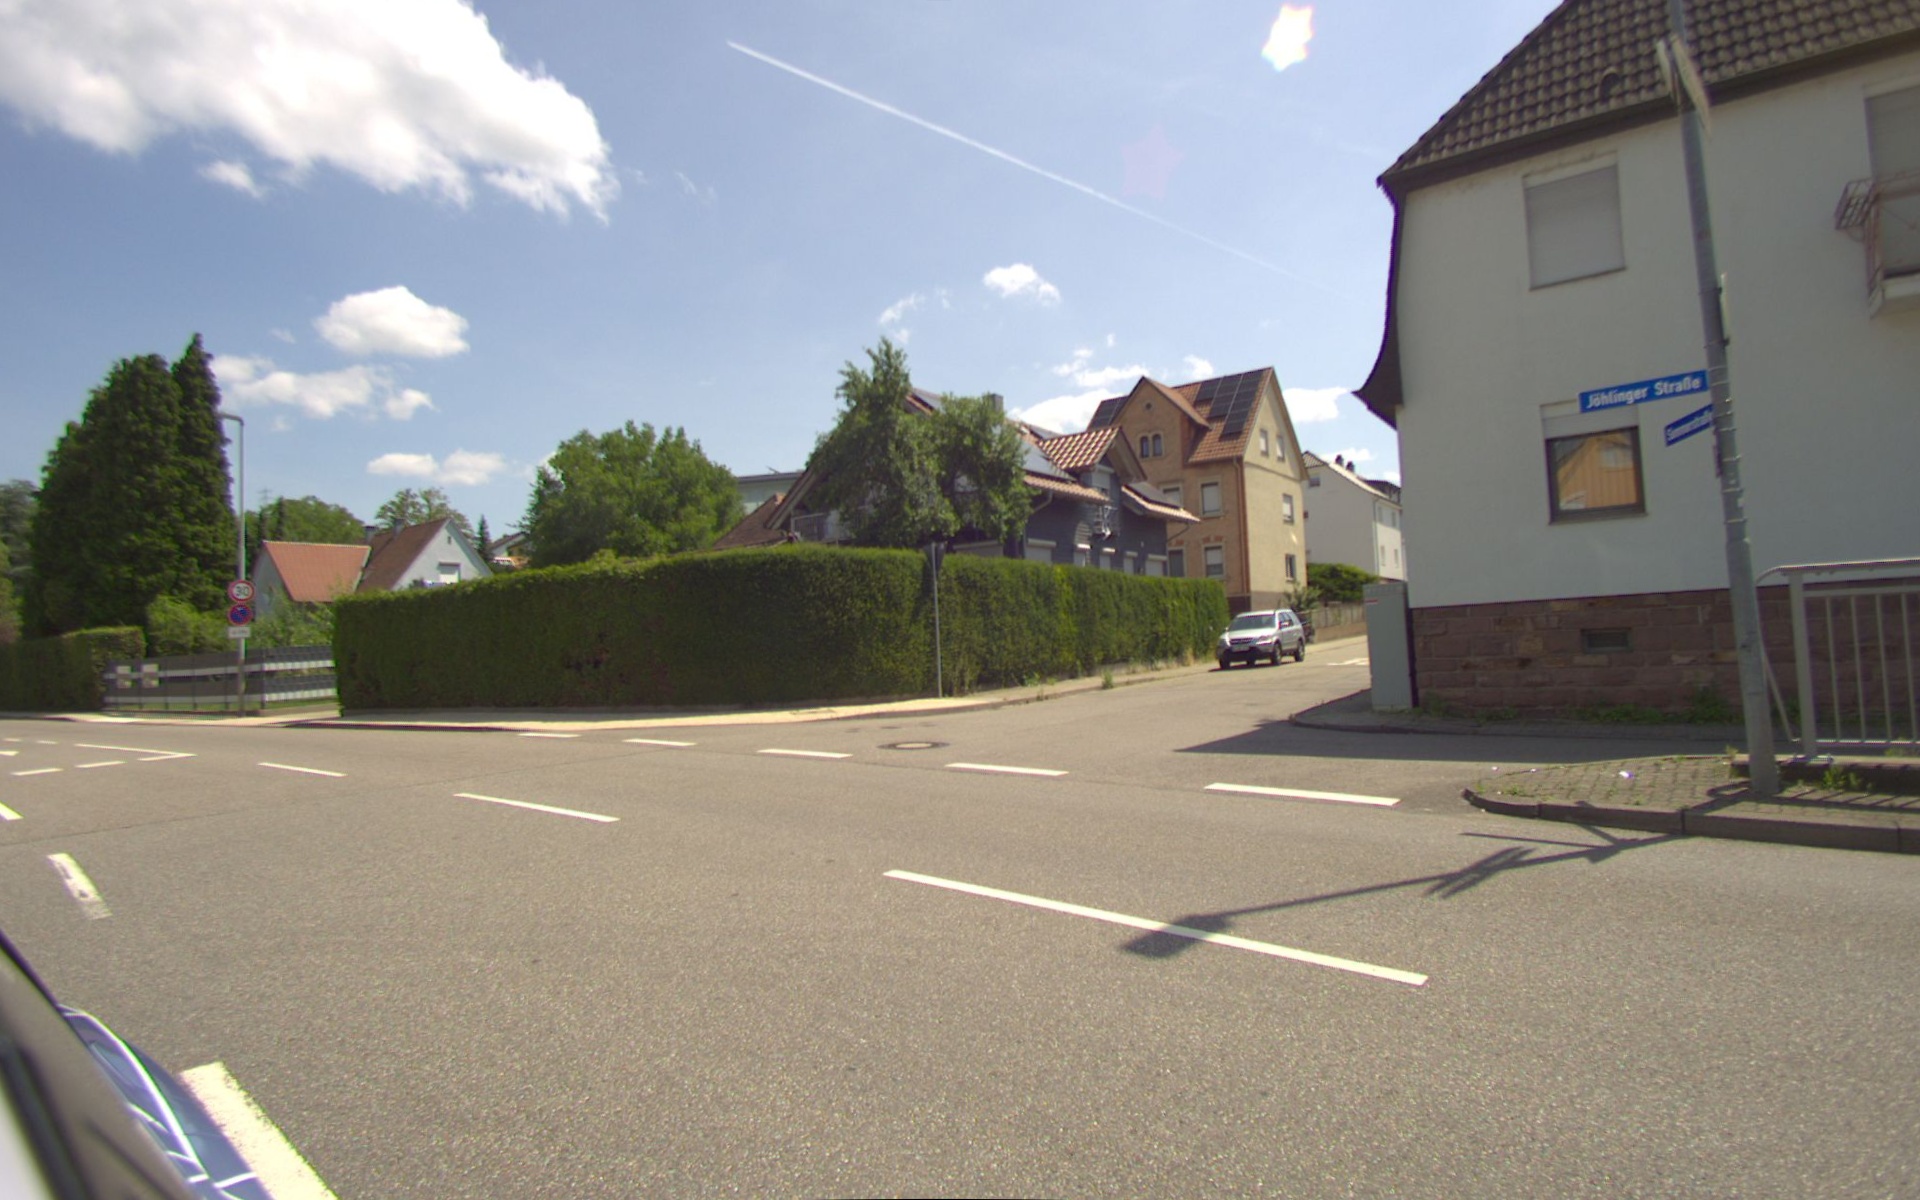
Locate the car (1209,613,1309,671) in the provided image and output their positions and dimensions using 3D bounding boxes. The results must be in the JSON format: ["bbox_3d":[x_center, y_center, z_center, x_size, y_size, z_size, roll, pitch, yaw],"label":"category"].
[{"bbox_3d":[9.093,1.233,30.617,1.786,1.478,3.731,-7,-4,33],"label":"car"}]
